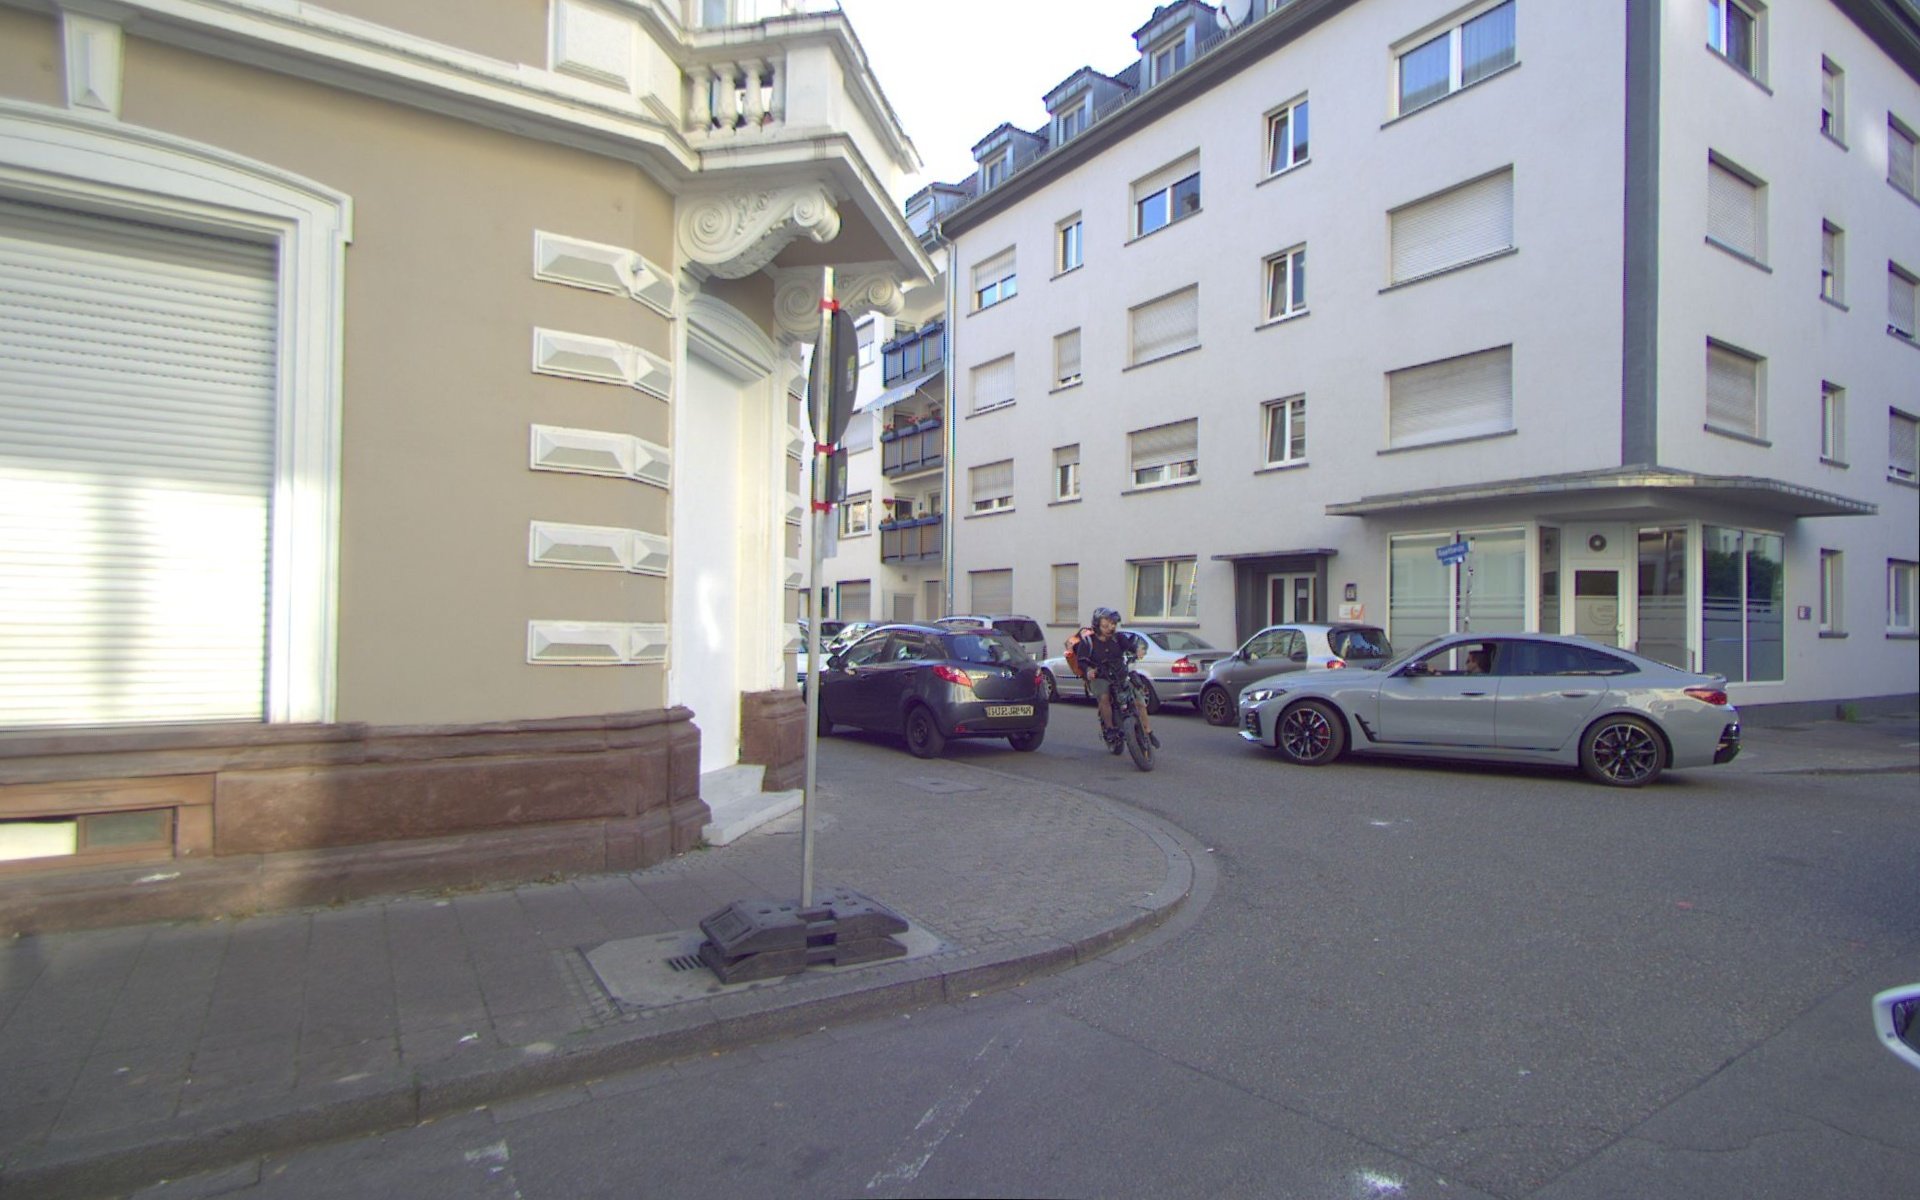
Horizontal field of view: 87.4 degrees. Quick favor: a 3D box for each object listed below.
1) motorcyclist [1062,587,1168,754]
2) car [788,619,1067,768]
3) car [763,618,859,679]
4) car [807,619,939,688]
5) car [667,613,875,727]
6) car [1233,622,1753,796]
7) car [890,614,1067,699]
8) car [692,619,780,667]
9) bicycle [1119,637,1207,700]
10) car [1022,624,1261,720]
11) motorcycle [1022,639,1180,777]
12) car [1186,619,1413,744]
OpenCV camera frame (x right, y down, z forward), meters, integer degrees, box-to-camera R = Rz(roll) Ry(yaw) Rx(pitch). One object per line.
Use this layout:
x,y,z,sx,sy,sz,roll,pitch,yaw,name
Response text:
1.674,0.742,10.995,0.859,1.723,0.998,-1,-1,-9,motorcyclist
-0.523,1.012,12.324,1.672,1.499,3.551,2,-1,-37,car
-4.507,1.409,30.090,1.639,1.666,3.578,1,-1,-30,car
-2.333,1.330,26.112,1.611,1.581,4.053,1,-1,-35,car
-3.177,1.025,16.276,1.817,1.581,4.053,1,-1,-35,car
5.439,1.030,10.906,4.573,1.506,2.000,1,-1,22,car
0.308,1.172,22.233,1.979,1.675,4.055,1,-1,-34,car
-7.755,1.447,34.606,1.574,1.507,3.944,1,-1,-35,car
4.196,1.402,20.909,0.484,1.152,2.038,2,0,-34,bicycle
3.160,1.208,18.305,1.947,1.472,4.226,1,-1,-32,car
1.544,1.105,10.824,1.685,1.266,0.797,-1,2,-42,motorcycle
4.871,1.103,14.644,1.630,1.586,2.740,1,-1,-32,car
